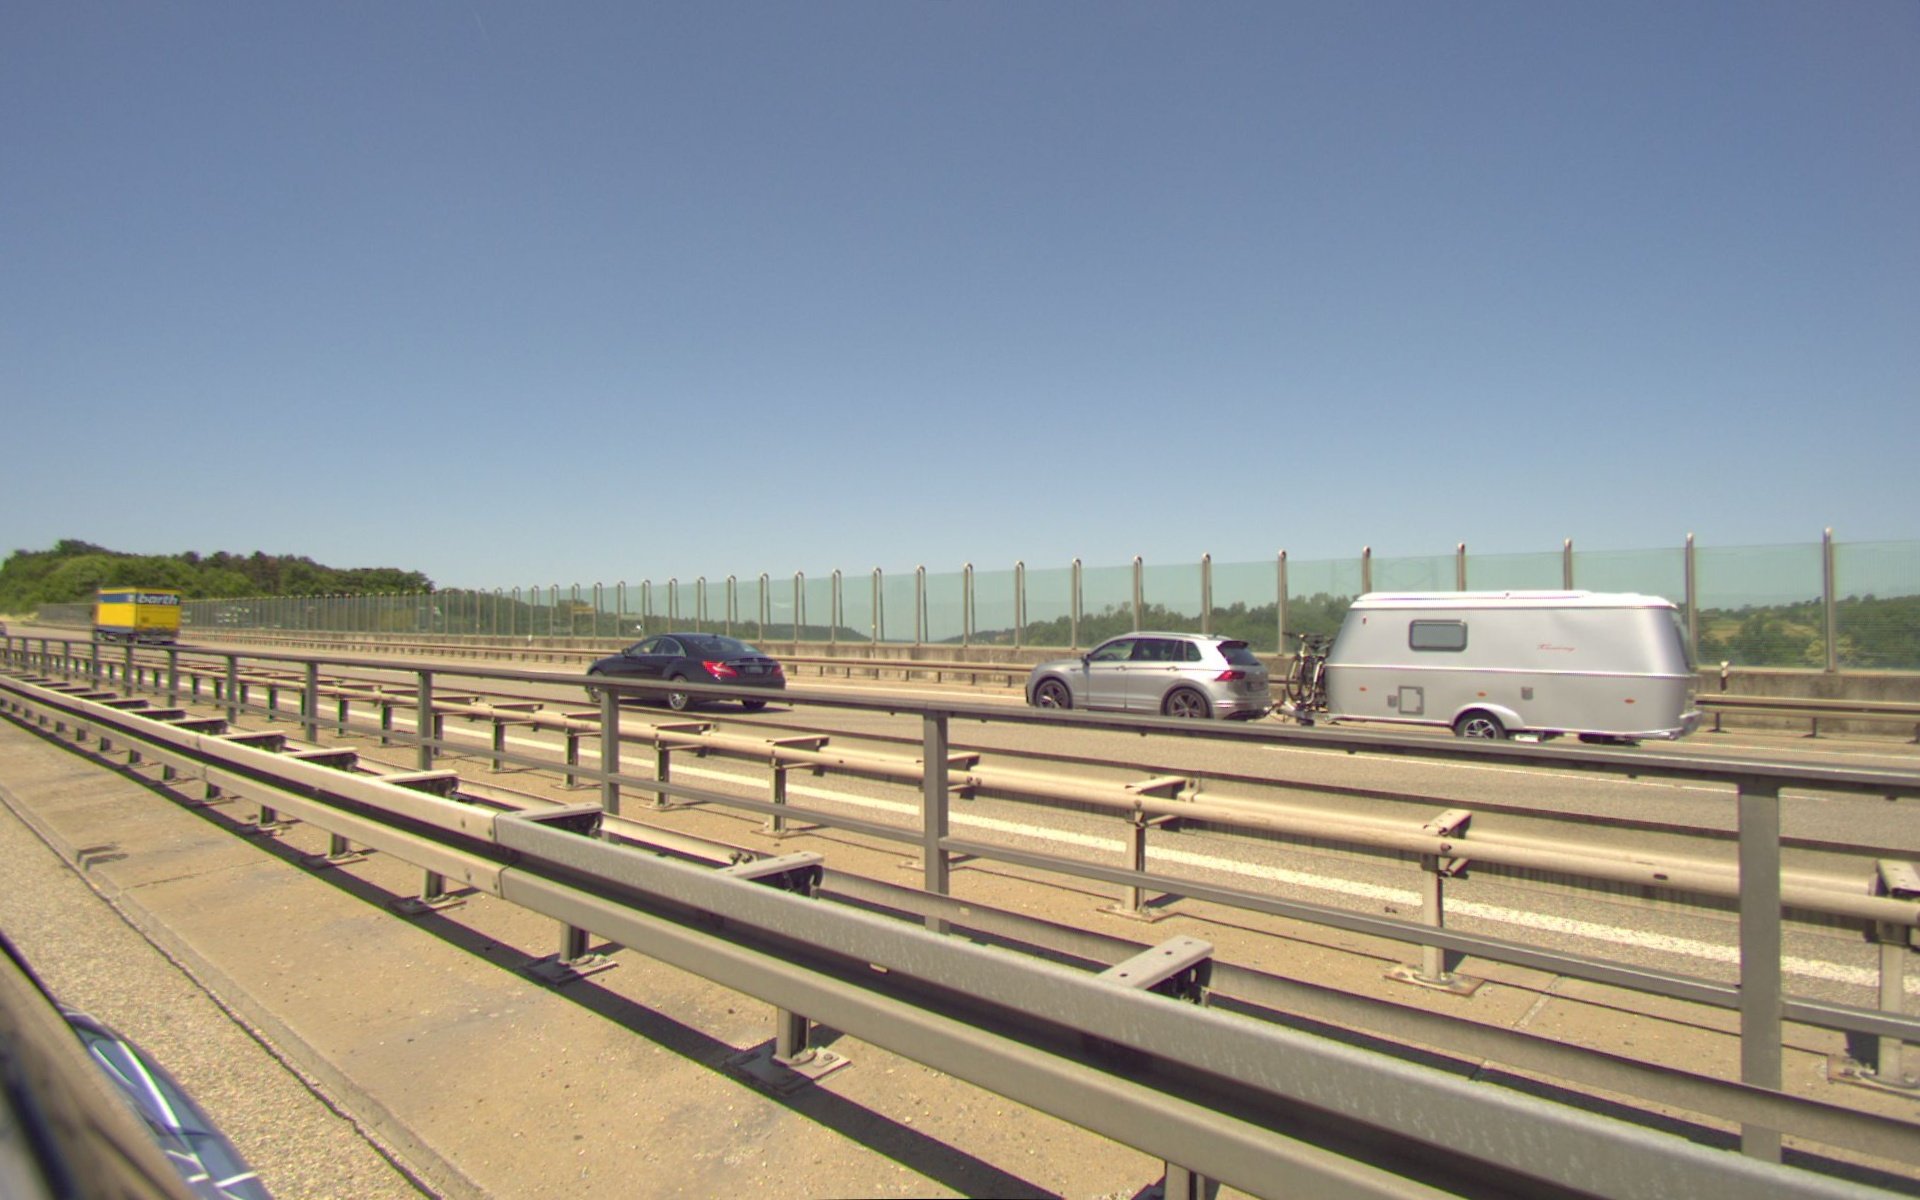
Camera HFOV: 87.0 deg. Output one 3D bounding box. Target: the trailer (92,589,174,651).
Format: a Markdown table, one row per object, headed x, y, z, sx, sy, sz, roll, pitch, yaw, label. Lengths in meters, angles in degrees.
| x | y | z | sx | sy | sz | roll | pitch | yaw | label |
| --- | --- | --- | --- | --- | --- | --- | --- | --- | --- |
| -59.714 | 1.501 | 72.881 | 13.797 | 4.094 | 2.397 | -1 | -3 | 42 | trailer |

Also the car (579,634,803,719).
| x | y | z | sx | sy | sz | roll | pitch | yaw | label |
| --- | --- | --- | --- | --- | --- | --- | --- | --- | --- |
| -5.227 | 1.372 | 19.321 | 4.673 | 1.408 | 1.836 | -1 | -3 | 41 | car |

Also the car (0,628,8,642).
| x | y | z | sx | sy | sz | roll | pitch | yaw | label |
| --- | --- | --- | --- | --- | --- | --- | --- | --- | --- |
| -98.140 | 3.489 | 102.698 | 4.075 | 1.392 | 1.744 | -1 | -3 | 40 | car |

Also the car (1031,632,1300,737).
| x | y | z | sx | sy | sz | roll | pitch | yaw | label |
| --- | --- | --- | --- | --- | --- | --- | --- | --- | --- |
| 3.486 | 1.388 | 17.565 | 4.197 | 1.557 | 1.837 | -1 | -4 | 40 | car |

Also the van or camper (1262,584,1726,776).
| x | y | z | sx | sy | sz | roll | pitch | yaw | label |
| --- | --- | --- | --- | --- | --- | --- | --- | --- | --- |
| 7.324 | 1.000 | 14.329 | 5.533 | 2.228 | 1.973 | -1 | -4 | 40 | van or camper |

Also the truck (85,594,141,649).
| x | y | z | sx | sy | sz | roll | pitch | yaw | label |
| --- | --- | --- | --- | --- | --- | --- | --- | --- | --- |
| -65.193 | 1.641 | 77.833 | 5.541 | 4.089 | 2.389 | -1 | -3 | 42 | truck |
